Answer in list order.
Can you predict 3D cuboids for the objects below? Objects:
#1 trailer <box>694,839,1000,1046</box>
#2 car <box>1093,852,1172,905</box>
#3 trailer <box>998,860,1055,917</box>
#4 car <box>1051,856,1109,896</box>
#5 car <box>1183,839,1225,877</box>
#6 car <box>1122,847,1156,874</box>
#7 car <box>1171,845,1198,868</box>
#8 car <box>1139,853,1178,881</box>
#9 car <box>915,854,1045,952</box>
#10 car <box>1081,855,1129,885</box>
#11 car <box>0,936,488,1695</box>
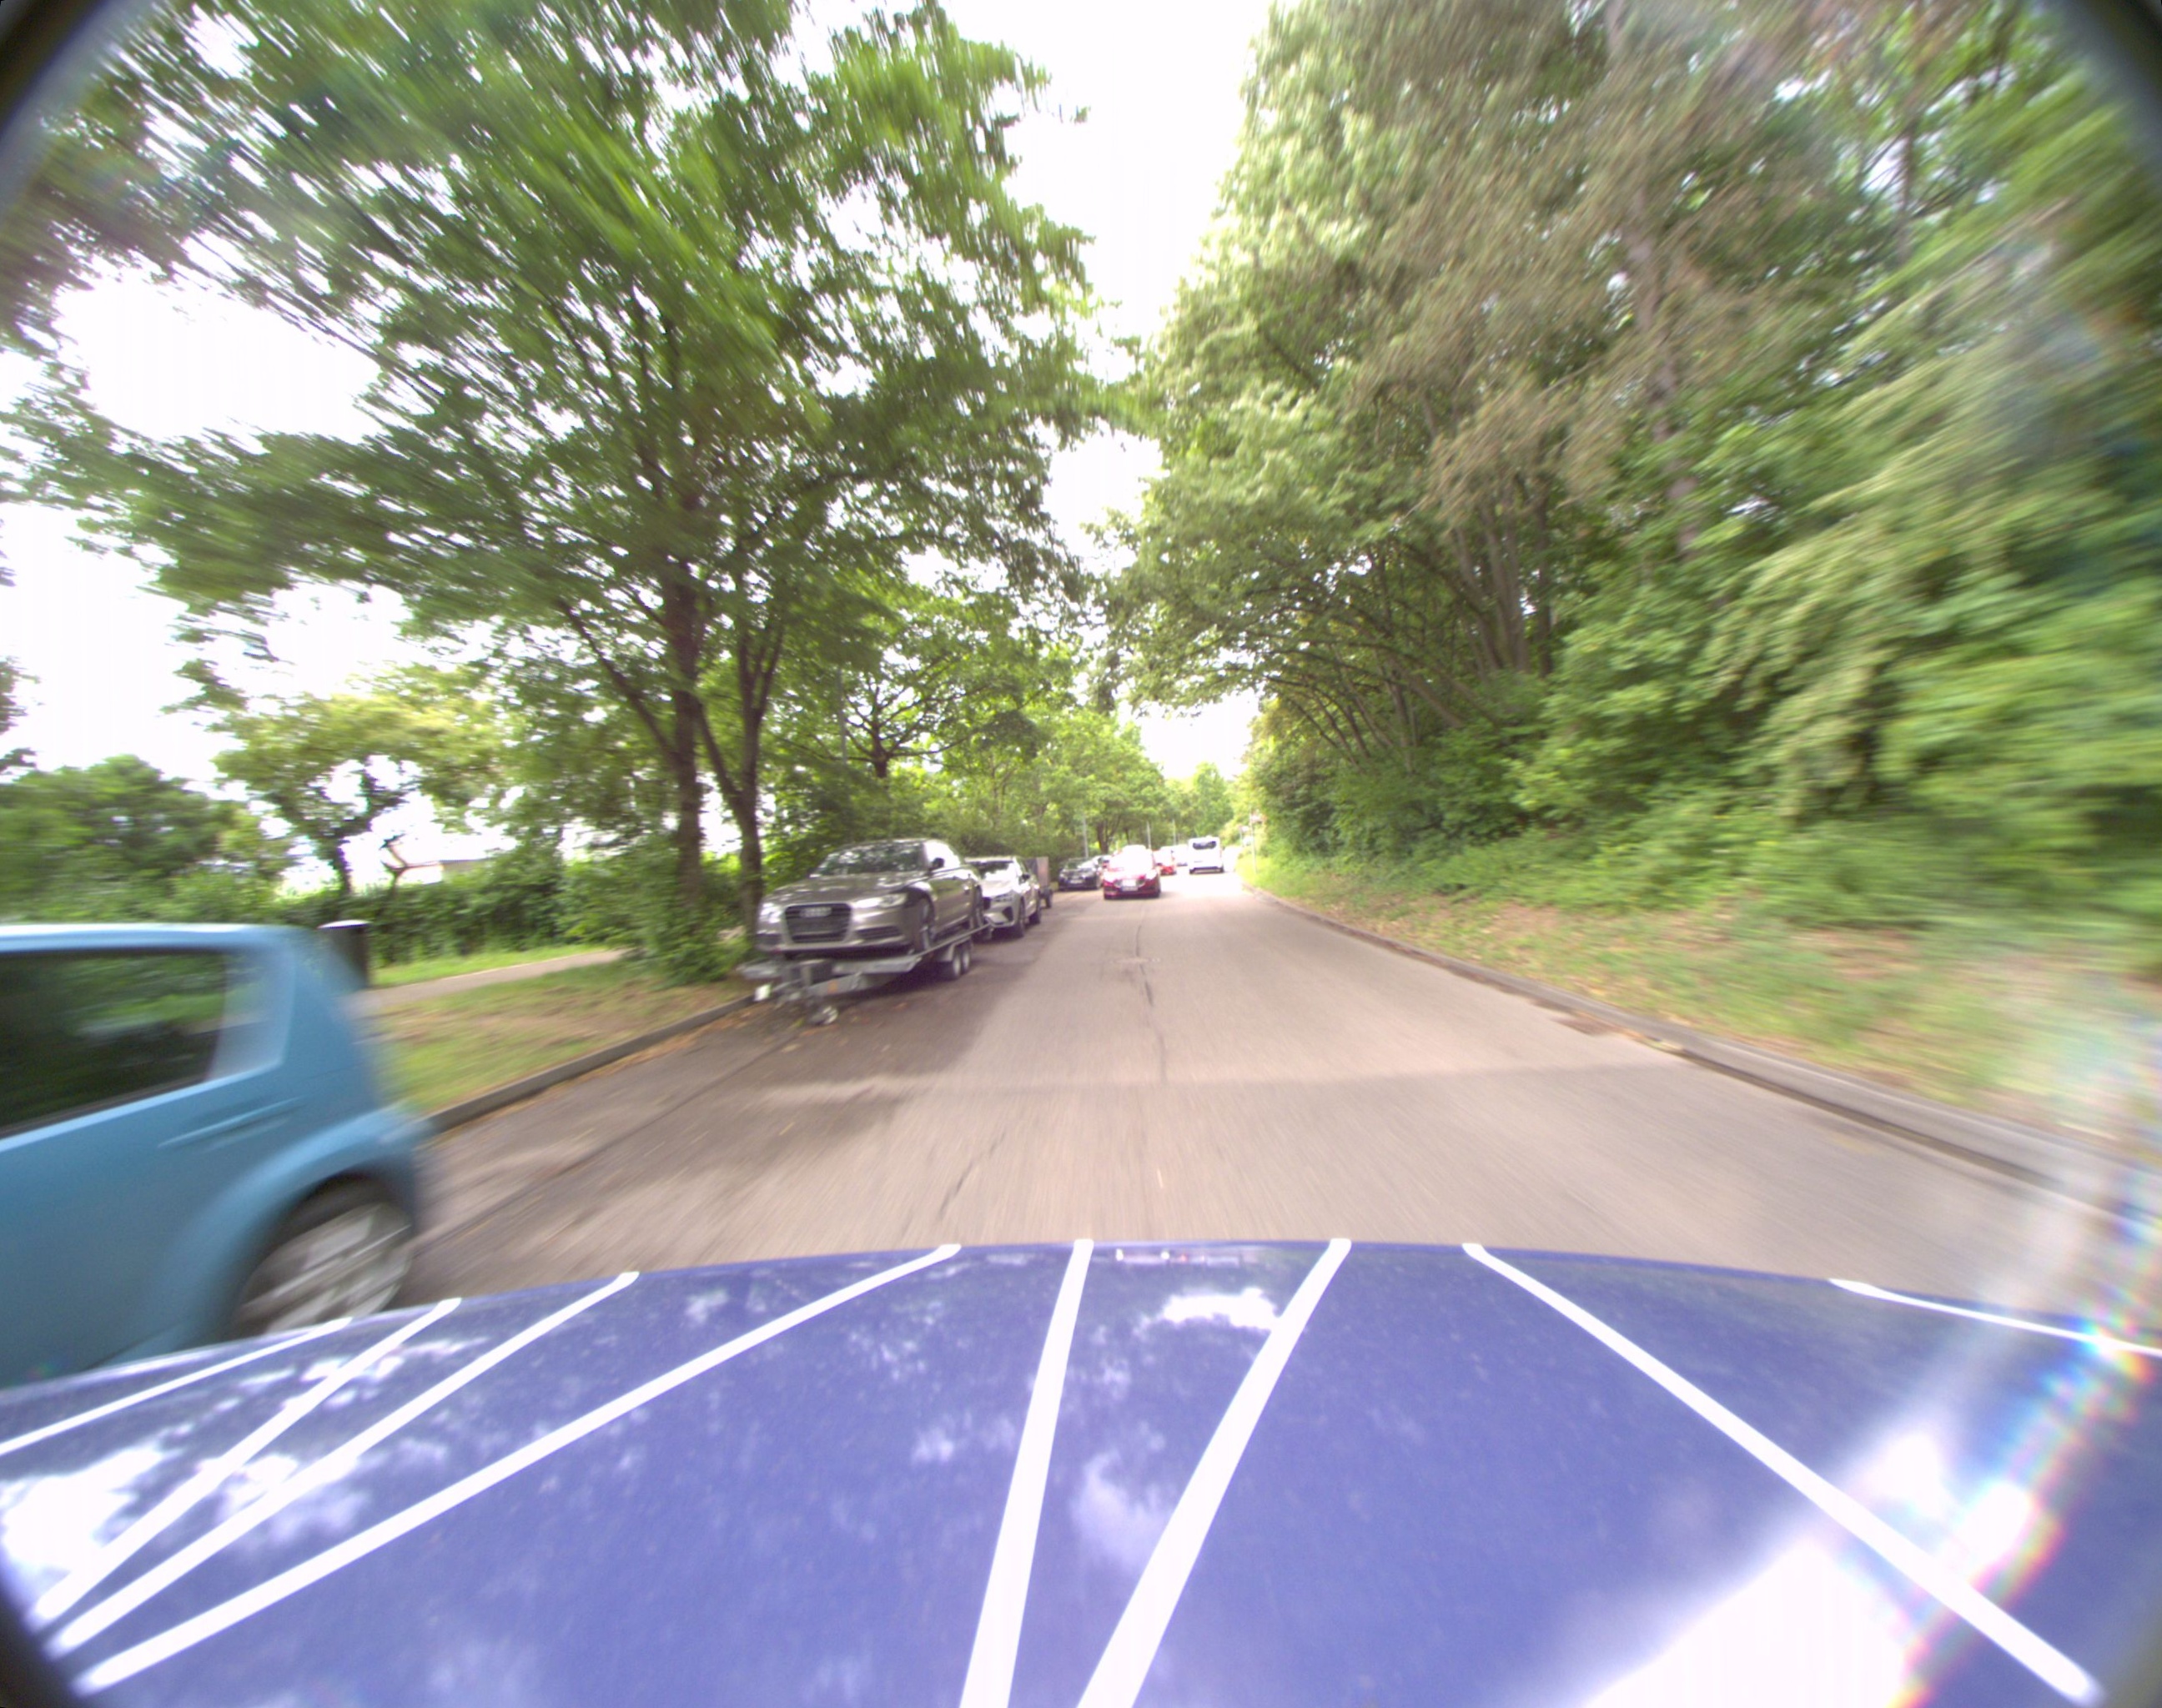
[{"bbox_3d":[-2.600,0.818,10.367,1.998,1.922,5.893,-3,1,3],"label":"trailer"},{"bbox_3d":[1.919,0.787,26.906,1.997,1.619,4.630,-3,0,13],"label":"car"},{"bbox_3d":[-1.627,1.009,23.167,1.377,1.594,2.268,-3,0,3],"label":"trailer"},{"bbox_3d":[0.036,0.910,33.685,1.866,1.558,4.179,-3,0,8],"label":"car"},{"bbox_3d":[7.225,0.194,44.280,2.148,2.002,4.002,-2,1,12],"label":"car"},{"bbox_3d":[4.147,0.416,53.499,1.865,1.716,4.179,-3,0,10],"label":"car"},{"bbox_3d":[8.146,0.174,59.423,1.921,1.671,4.003,-1,0,10],"label":"car"},{"bbox_3d":[4.627,0.730,44.922,1.865,1.440,4.179,-3,0,10],"label":"car"},{"bbox_3d":[-1.961,0.895,16.231,1.845,1.675,4.601,-3,0,3],"label":"car"},{"bbox_3d":[1.331,0.807,40.157,1.865,1.440,4.179,-3,0,10],"label":"car"},{"bbox_3d":[-3.286,1.131,1.149,1.699,1.538,3.768,-3,0,1],"label":"car"}]
